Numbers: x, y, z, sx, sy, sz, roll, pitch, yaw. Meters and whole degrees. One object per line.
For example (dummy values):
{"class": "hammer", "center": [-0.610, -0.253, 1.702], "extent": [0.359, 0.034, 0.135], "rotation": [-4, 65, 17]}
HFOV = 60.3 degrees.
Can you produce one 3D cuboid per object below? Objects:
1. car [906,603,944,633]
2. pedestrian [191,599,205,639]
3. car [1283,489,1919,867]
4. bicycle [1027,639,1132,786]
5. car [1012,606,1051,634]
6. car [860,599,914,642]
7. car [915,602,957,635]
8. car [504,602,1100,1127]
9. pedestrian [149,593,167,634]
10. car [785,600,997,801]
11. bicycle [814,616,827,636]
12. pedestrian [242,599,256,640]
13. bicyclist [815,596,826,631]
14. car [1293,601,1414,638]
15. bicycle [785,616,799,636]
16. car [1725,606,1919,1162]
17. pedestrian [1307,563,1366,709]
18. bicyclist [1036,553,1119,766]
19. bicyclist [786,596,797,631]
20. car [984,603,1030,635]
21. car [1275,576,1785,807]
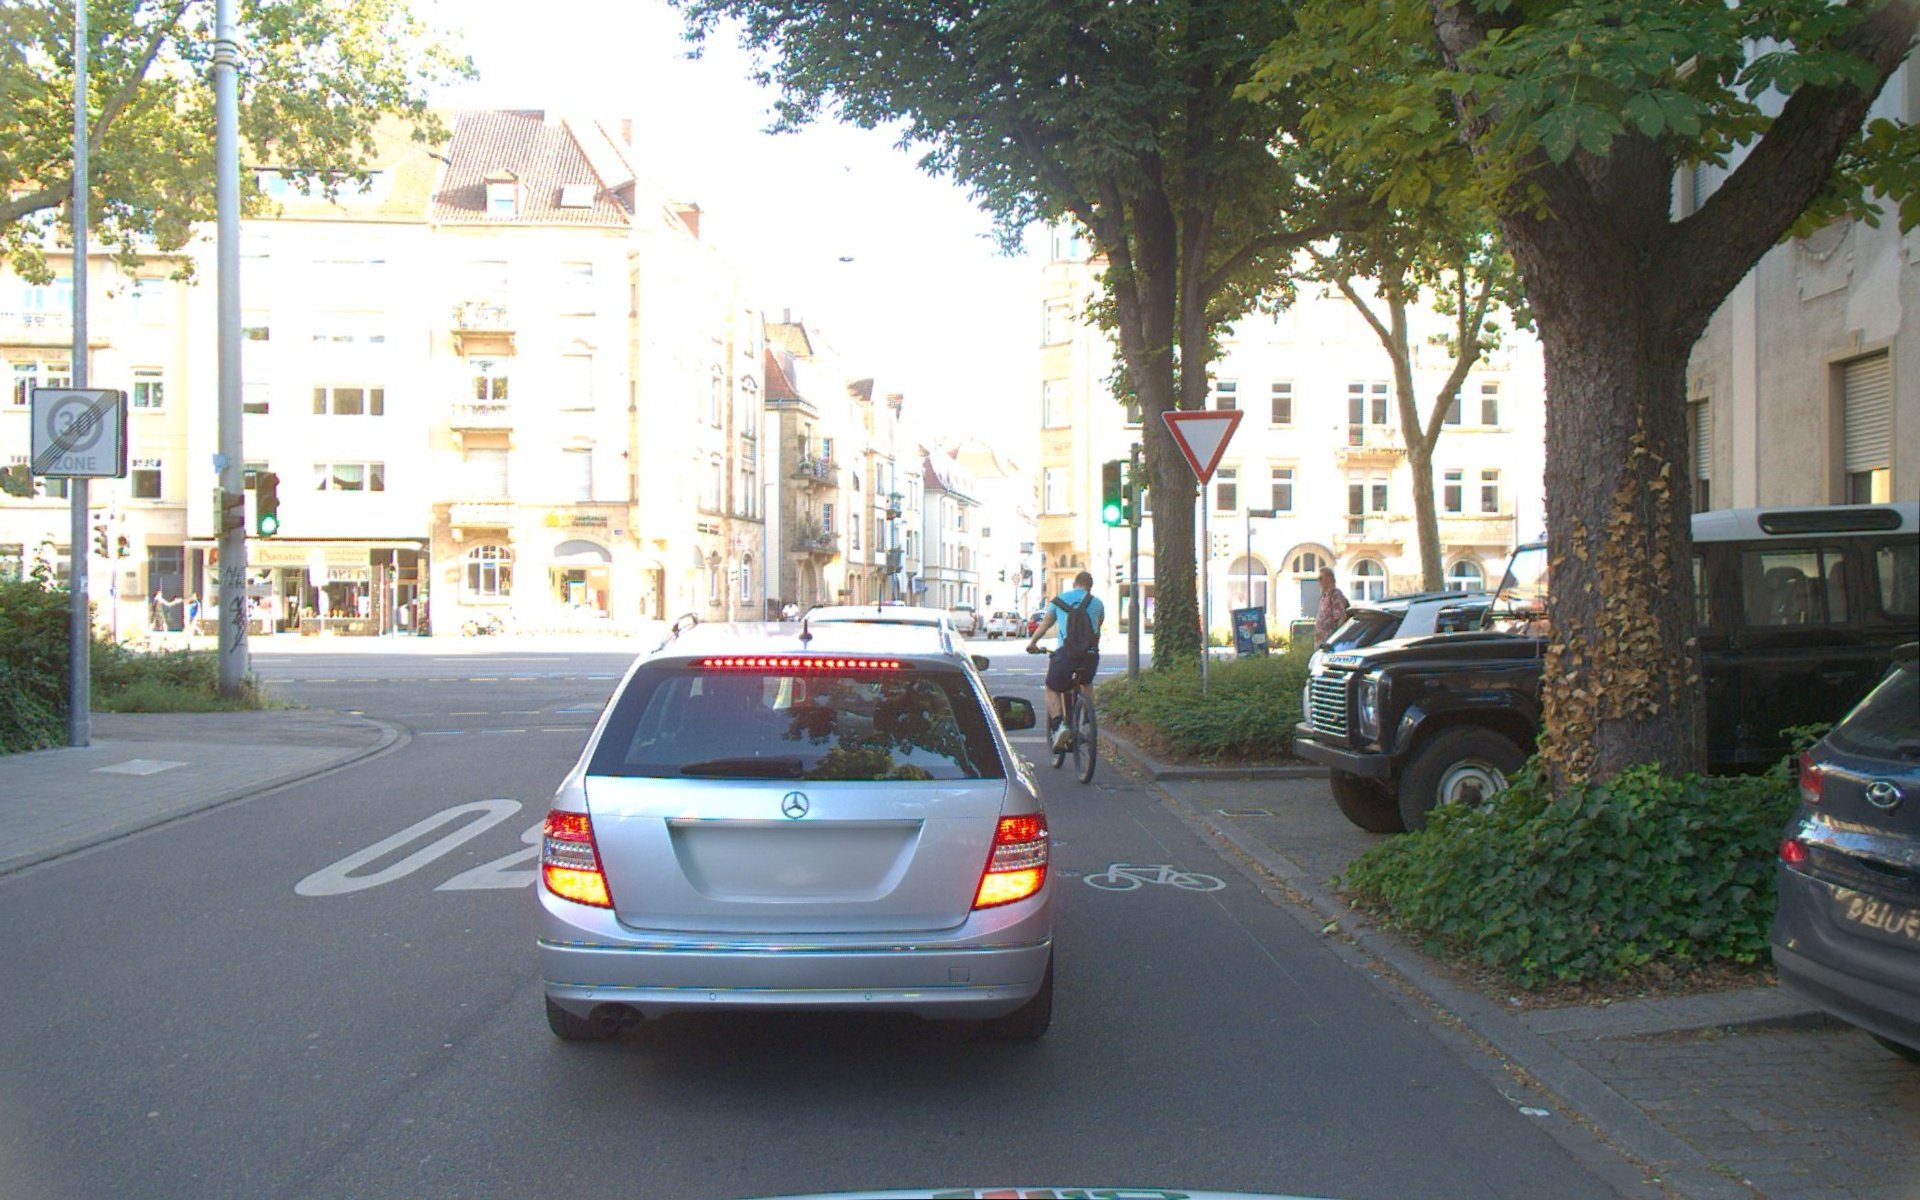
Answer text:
{"class": "car", "center": [-2.123, 1.126, 102.351], "extent": [1.615, 1.814, 3.866], "rotation": [0, -1, 10]}
{"class": "pedestrian", "center": [-29.228, 0.716, 63.449], "extent": [0.502, 1.537, 0.532], "rotation": [0, 0, -24]}
{"class": "car", "center": [4.415, 0.404, 10.210], "extent": [4.402, 1.990, 1.791], "rotation": [-2, 0, -4]}
{"class": "bicycle", "center": [1.022, 0.951, 14.581], "extent": [0.727, 1.137, 2.013], "rotation": [1, 0, -1]}
{"class": "car", "center": [4.449, 1.222, 102.145], "extent": [1.684, 1.503, 4.004], "rotation": [-4, 0, 11]}
{"class": "car", "center": [-3.483, 0.970, 79.576], "extent": [1.896, 1.993, 4.153], "rotation": [0, 0, 7]}
{"class": "car", "center": [-1.312, 1.018, 91.618], "extent": [1.650, 1.753, 4.003], "rotation": [0, 0, 10]}
{"class": "car", "center": [-0.537, 0.760, 6.429], "extent": [1.657, 1.454, 3.490], "rotation": [1, 0, -3]}
{"class": "pedestrian", "center": [-30.425, 0.511, 62.775], "extent": [0.557, 1.537, 0.499], "rotation": [0, 0, -20]}
{"class": "car", "center": [-0.563, 0.720, 13.647], "extent": [1.502, 1.415, 3.597], "rotation": [0, 0, -2]}
{"class": "bicycle", "center": [-6.179, 1.139, 73.326], "extent": [0.557, 0.849, 1.564], "rotation": [0, 0, -4]}
{"class": "pedestrian", "center": [-27.277, 0.744, 63.447], "extent": [0.466, 1.537, 0.428], "rotation": [0, 0, -21]}
{"class": "bicyclist", "center": [-6.191, 0.596, 73.293], "extent": [0.457, 1.547, 0.693], "rotation": [0, 0, -4]}
{"class": "car", "center": [11.799, 0.581, 49.681], "extent": [3.296, 1.087, 1.380], "rotation": [0, 0, -2]}
{"class": "bicycle", "center": [-7.414, 1.144, 72.963], "extent": [0.557, 0.849, 1.564], "rotation": [0, 0, -4]}
{"class": "car", "center": [4.322, 0.690, 4.536], "extent": [3.675, 1.446, 1.627], "rotation": [-2, -1, -4]}
{"class": "pedestrian", "center": [4.916, 0.463, 21.613], "extent": [0.619, 1.877, 0.574], "rotation": [0, 0, -5]}
{"class": "bicyclist", "center": [1.025, 0.511, 14.547], "extent": [0.633, 1.806, 0.830], "rotation": [1, -1, -1]}
{"class": "bicyclist", "center": [-7.431, 0.590, 73.034], "extent": [0.457, 1.541, 0.655], "rotation": [0, 0, -4]}
{"class": "car", "center": [2.465, 0.981, 85.860], "extent": [1.684, 1.504, 4.004], "rotation": [-2, 0, 11]}
{"class": "car", "center": [4.425, 0.662, 13.124], "extent": [3.415, 1.614, 1.708], "rotation": [-1, 0, -7]}
